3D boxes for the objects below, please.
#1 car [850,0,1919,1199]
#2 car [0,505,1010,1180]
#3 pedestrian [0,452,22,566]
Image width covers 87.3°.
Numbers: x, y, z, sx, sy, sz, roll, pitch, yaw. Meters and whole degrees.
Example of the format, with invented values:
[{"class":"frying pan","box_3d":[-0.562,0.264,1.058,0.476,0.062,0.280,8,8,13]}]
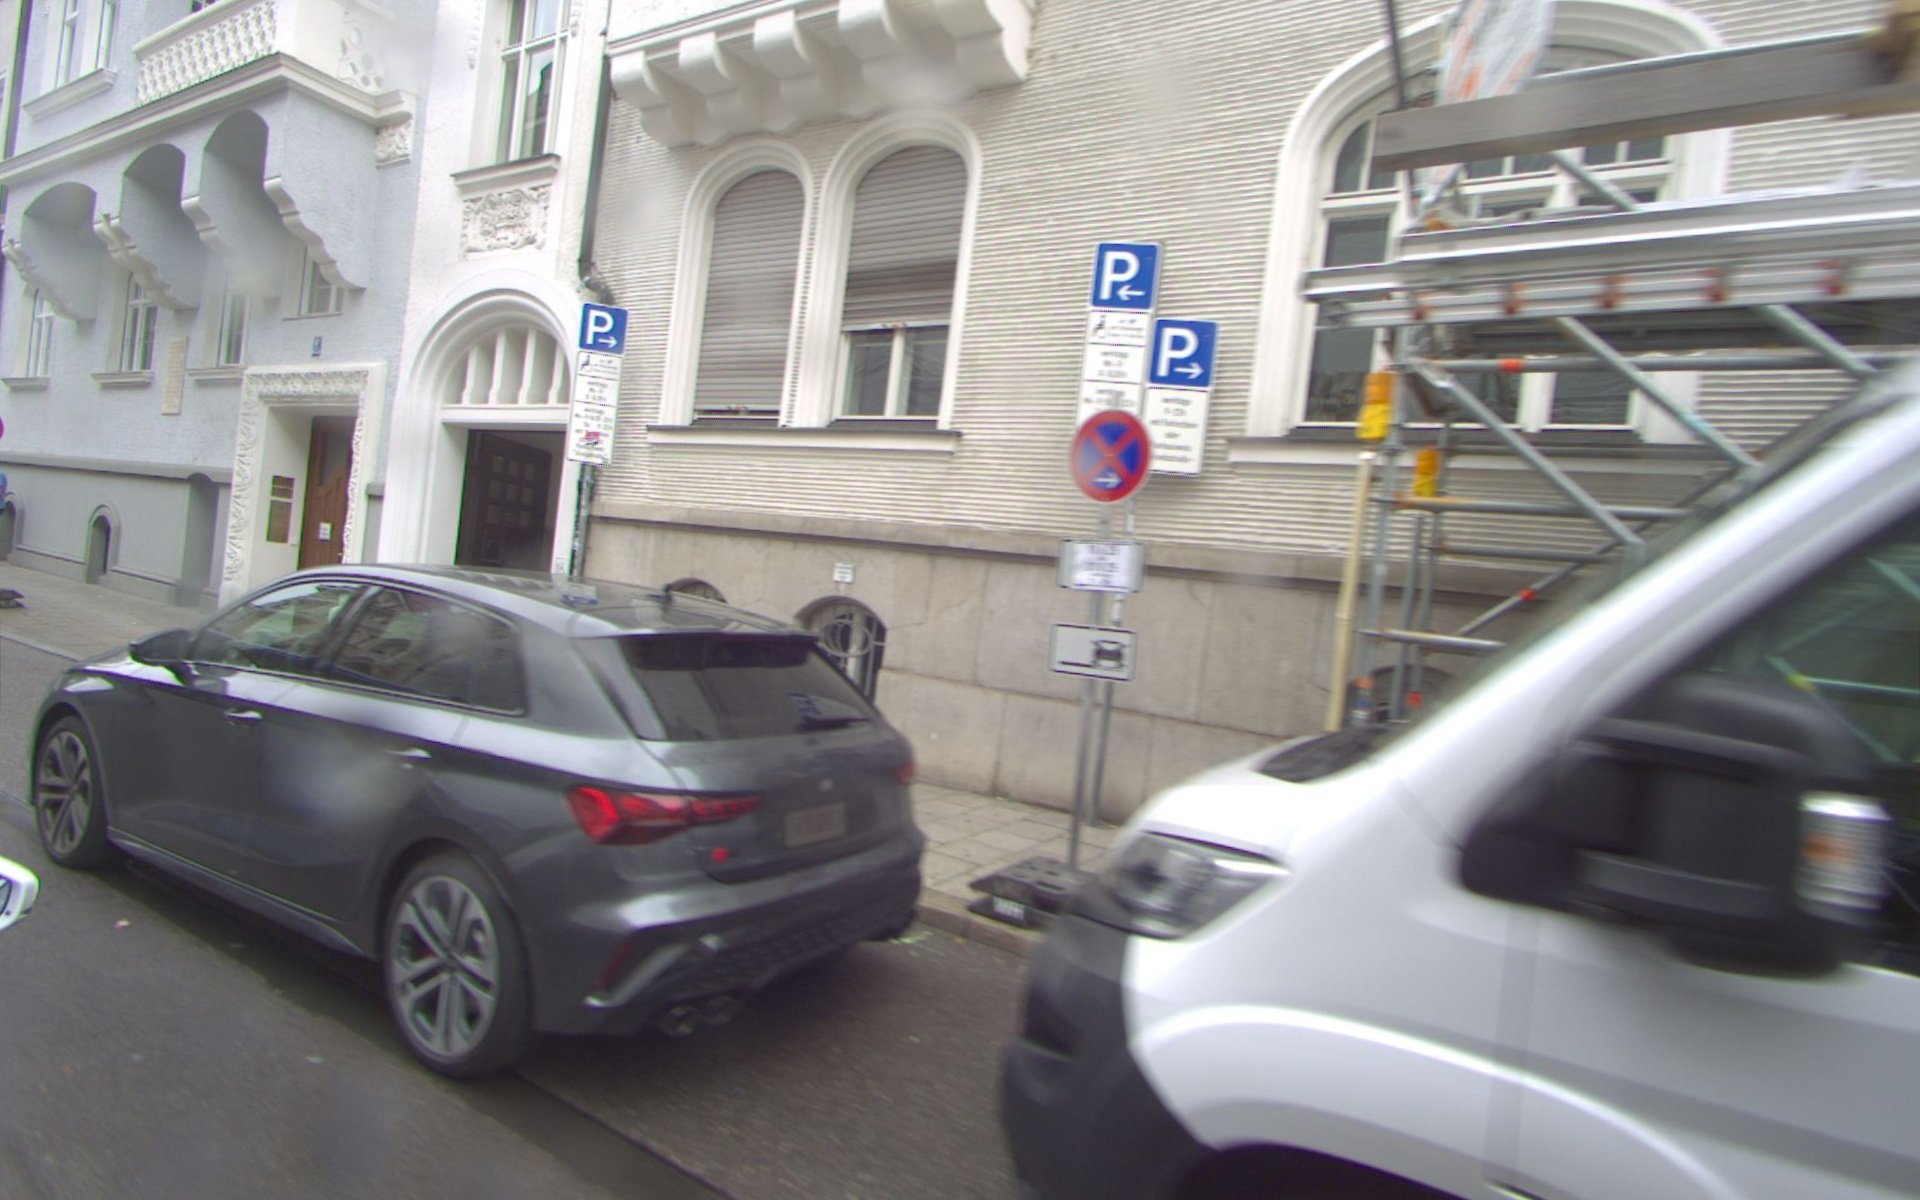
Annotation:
[{"class":"car","box_3d":[2.686,0.436,1.454,5.354,2.724,2.078,7,2,31]},{"class":"car","box_3d":[-2.105,0.543,4.254,4.173,1.425,1.790,7,0,31]},{"class":"pedestrian","box_3d":[-16.765,-1.600,17.170,0.734,1.927,0.852,7,1,34]}]
